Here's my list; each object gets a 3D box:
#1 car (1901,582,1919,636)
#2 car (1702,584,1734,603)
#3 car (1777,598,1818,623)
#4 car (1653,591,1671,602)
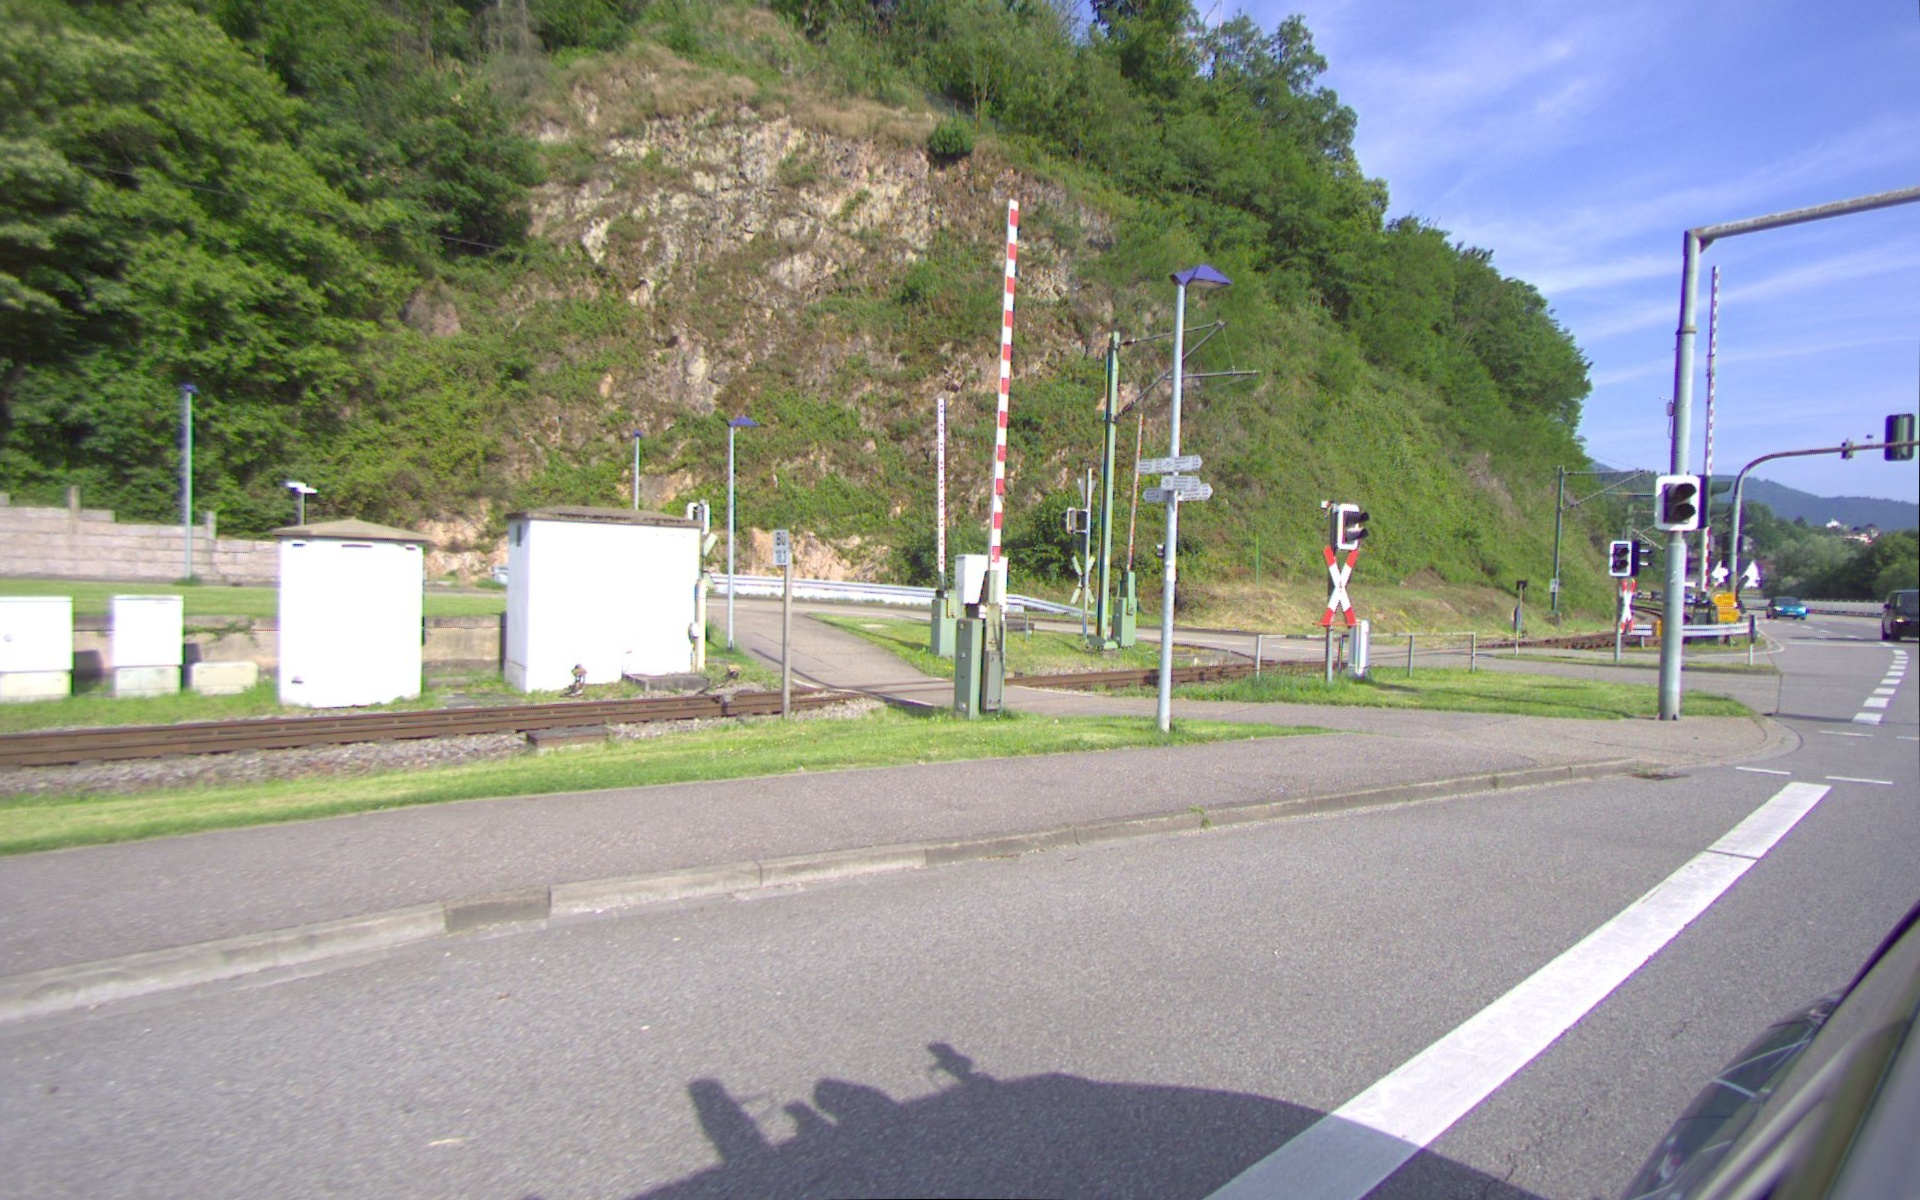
[{"bbox_3d":[35.822,0.311,37.084,1.903,1.903,4.280,-1,-1,43],"label":"car"},{"bbox_3d":[76.192,-0.684,101.776,1.983,1.816,3.959,1,1,29],"label":"car"},{"bbox_3d":[57.854,0.731,69.953,1.758,1.478,3.533,4,4,34],"label":"car"},{"bbox_3d":[119.704,-0.649,172.554,1.805,1.667,4.569,2,2,27],"label":"car"}]
